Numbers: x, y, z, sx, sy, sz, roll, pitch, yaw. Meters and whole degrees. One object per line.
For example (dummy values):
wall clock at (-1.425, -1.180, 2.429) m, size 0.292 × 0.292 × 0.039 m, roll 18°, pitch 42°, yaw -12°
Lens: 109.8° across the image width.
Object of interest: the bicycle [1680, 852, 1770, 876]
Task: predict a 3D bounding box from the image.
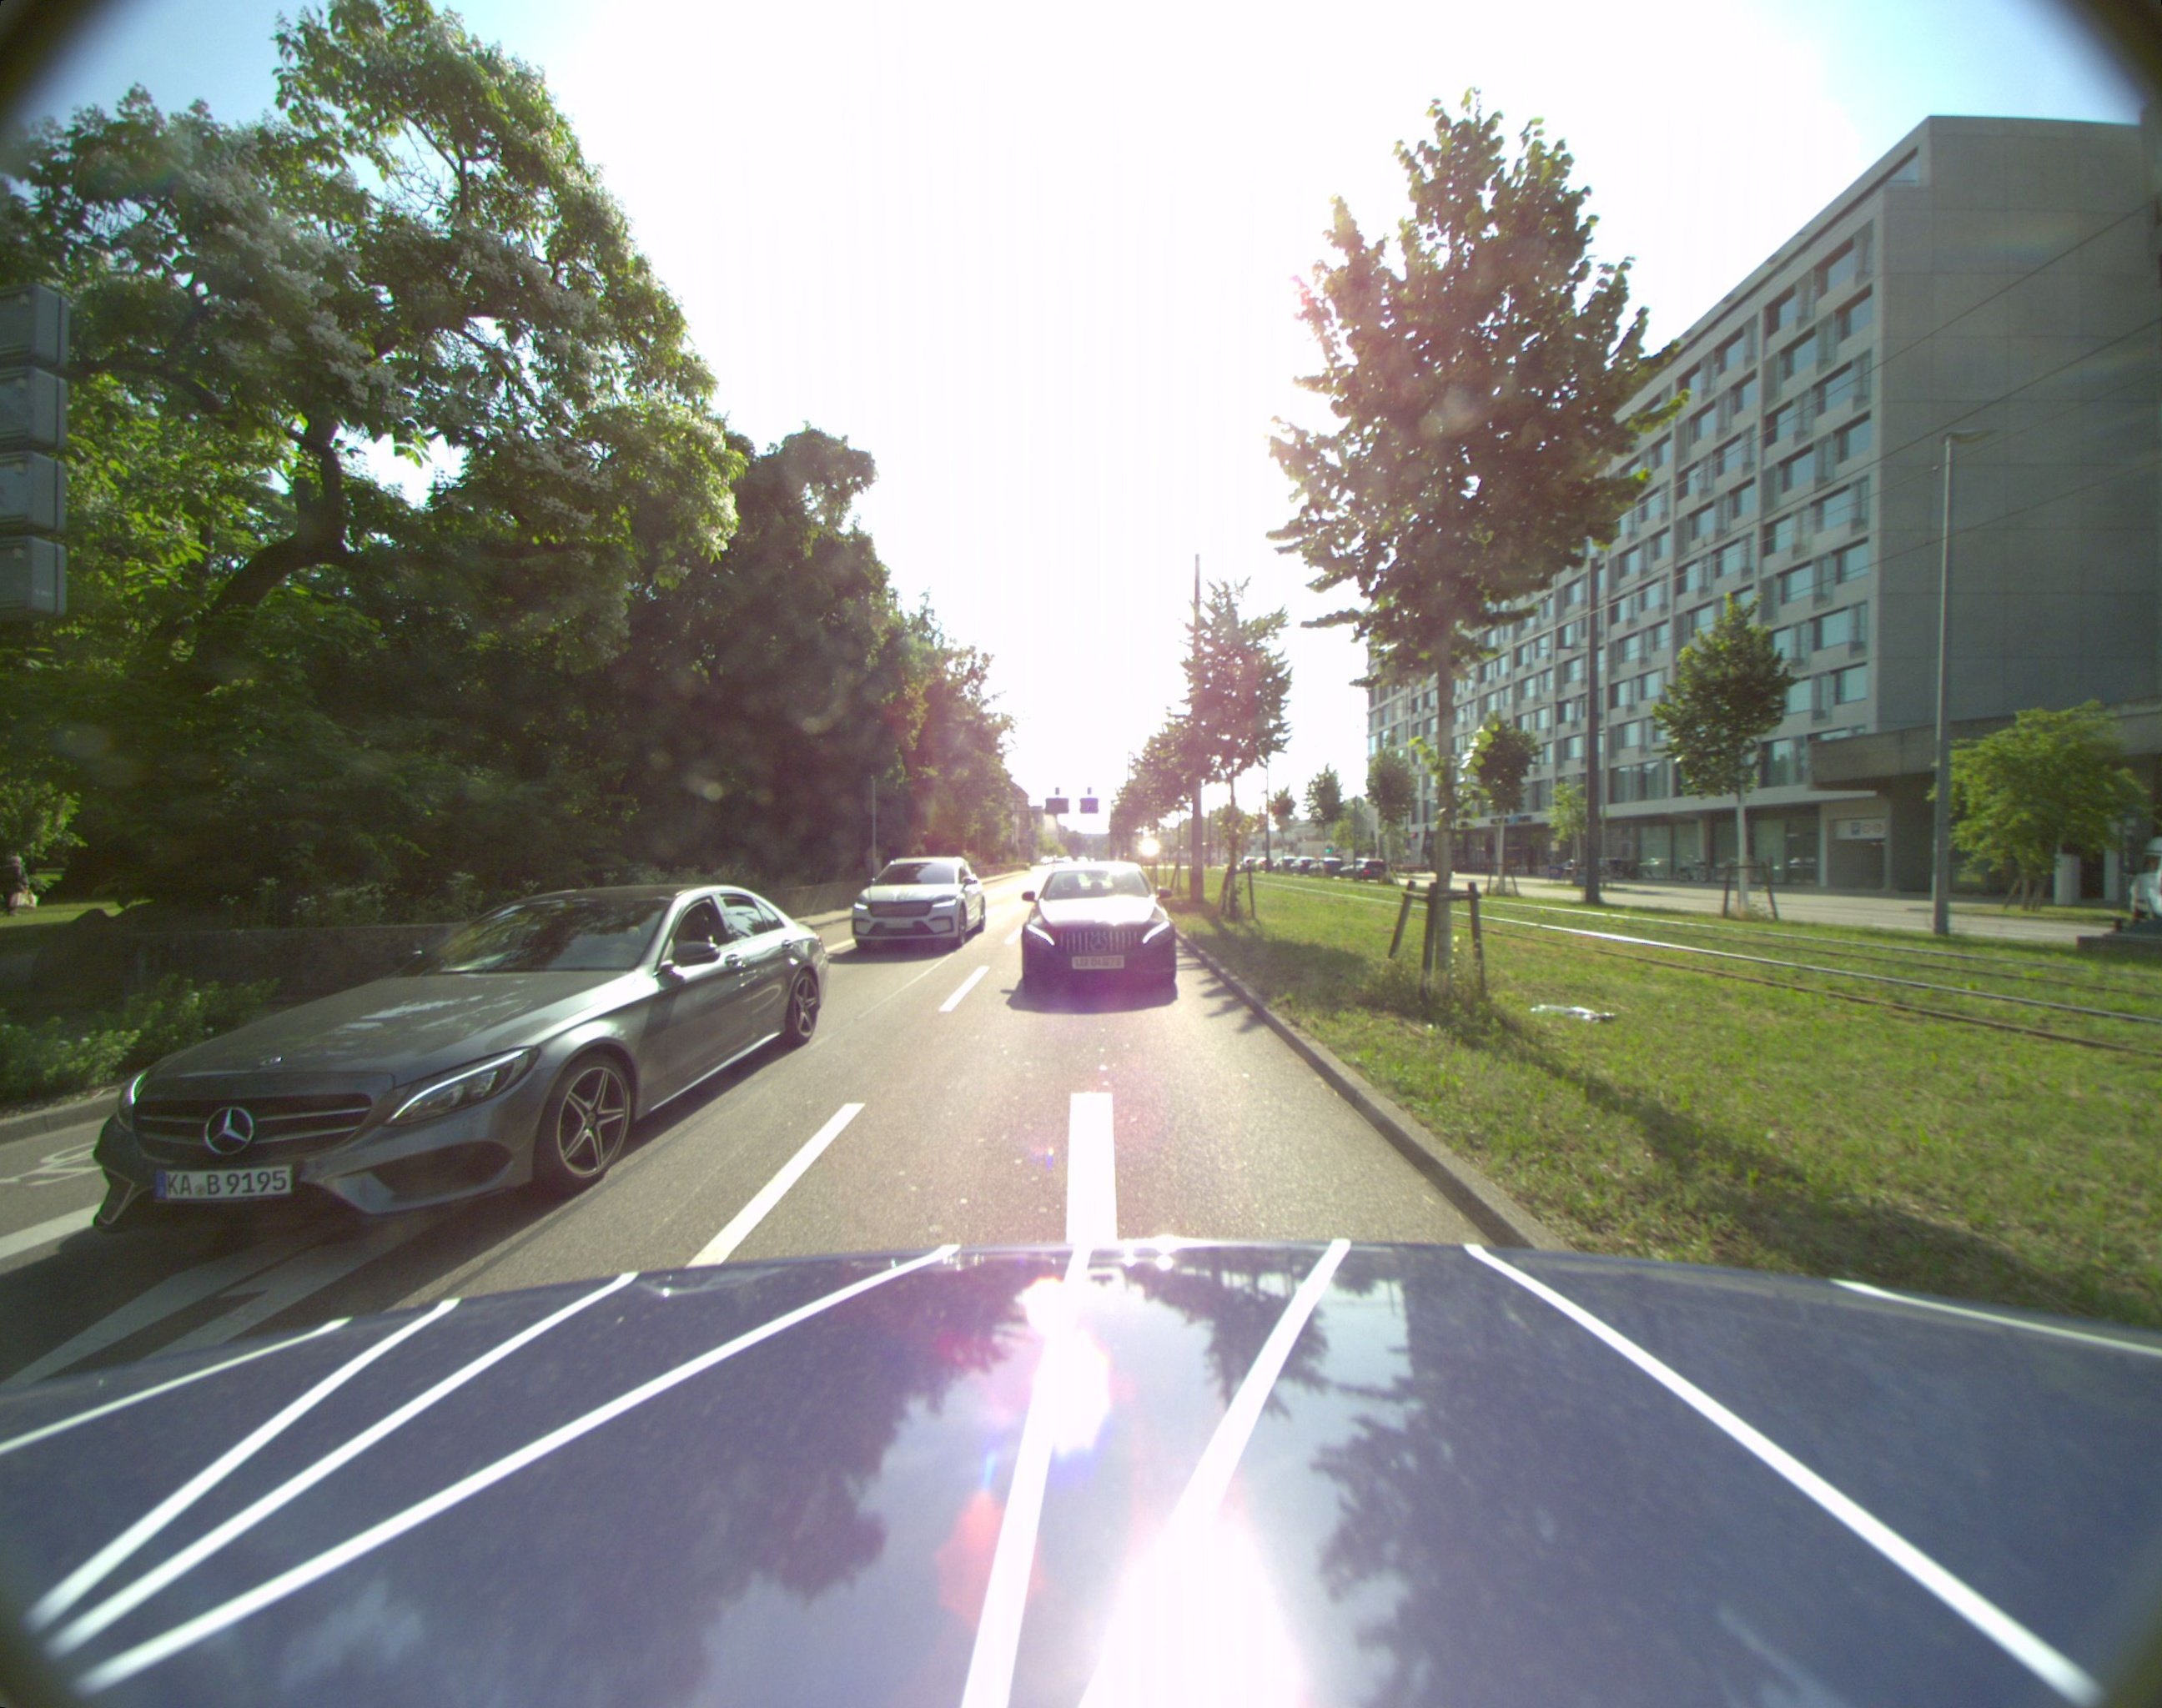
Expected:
bicycle at (37.710, 0.580, 44.525) m, size 3.993 × 1.358 × 1.127 m, roll 0°, pitch 1°, yaw 10°

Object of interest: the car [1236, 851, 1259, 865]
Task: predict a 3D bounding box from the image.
car at (18.367, 0.429, 83.895) m, size 1.787 × 1.516 × 4.000 m, roll 0°, pitch 0°, yaw 1°

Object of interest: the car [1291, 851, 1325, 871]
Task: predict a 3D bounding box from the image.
car at (18.228, 0.539, 61.173) m, size 1.811 × 1.565 × 4.001 m, roll 0°, pitch 0°, yaw 3°

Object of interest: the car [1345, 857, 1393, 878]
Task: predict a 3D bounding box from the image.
car at (21.606, 0.957, 57.154) m, size 1.998 × 1.481 × 4.419 m, roll 0°, pitch 0°, yaw 2°

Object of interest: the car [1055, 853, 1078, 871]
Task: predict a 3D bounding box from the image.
car at (-1.322, 0.711, 70.795) m, size 1.998 × 1.630 × 4.000 m, roll 0°, pitch 0°, yaw 1°

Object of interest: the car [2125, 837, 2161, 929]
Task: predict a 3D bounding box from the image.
car at (29.568, 0.725, 20.159) m, size 5.419 × 2.295 × 1.879 m, roll 0°, pitch 1°, yaw -39°

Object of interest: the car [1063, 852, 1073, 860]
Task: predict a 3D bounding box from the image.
car at (-2.556, 0.418, 155.379) m, size 1.904 × 1.584 × 4.000 m, roll 0°, pitch 0°, yaw 1°

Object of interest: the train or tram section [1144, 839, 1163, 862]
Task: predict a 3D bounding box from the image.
train or tram section at (11.341, -0.542, 119.080) m, size 2.500 × 3.409 × 6.670 m, roll 0°, pitch 0°, yaw 2°

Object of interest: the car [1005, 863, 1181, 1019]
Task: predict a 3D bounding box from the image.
car at (0.187, 0.933, 10.157) m, size 1.759 × 1.437 × 4.617 m, roll -2°, pitch 1°, yaw 2°

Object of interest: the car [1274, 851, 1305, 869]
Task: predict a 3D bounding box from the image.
car at (18.278, 0.489, 66.651) m, size 1.811 × 1.565 × 4.001 m, roll 0°, pitch 0°, yaw 3°

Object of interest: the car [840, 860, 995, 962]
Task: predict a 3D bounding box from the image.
car at (-2.919, 0.950, 14.544) m, size 1.897 × 1.561 × 4.250 m, roll -1°, pitch 0°, yaw 1°

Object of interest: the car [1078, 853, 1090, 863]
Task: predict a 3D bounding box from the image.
car at (0.435, 0.606, 116.075) m, size 1.797 × 1.443 × 4.000 m, roll 0°, pitch 0°, yaw 1°

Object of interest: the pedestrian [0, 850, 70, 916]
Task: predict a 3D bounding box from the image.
pedestrian at (-29.587, 0.794, 21.325) m, size 1.071 × 1.820 × 0.984 m, roll 0°, pitch 1°, yaw -17°

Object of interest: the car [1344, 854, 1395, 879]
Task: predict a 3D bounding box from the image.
car at (17.867, 0.720, 47.244) m, size 1.811 × 1.472 × 4.001 m, roll 0°, pitch 0°, yaw 3°

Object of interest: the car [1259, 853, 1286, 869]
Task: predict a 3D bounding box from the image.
car at (18.368, 0.652, 72.937) m, size 1.811 × 1.466 × 4.001 m, roll 0°, pitch 0°, yaw 3°

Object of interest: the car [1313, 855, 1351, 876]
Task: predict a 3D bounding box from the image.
car at (18.035, 0.783, 54.793) m, size 1.745 × 1.478 × 3.642 m, roll 0°, pitch 0°, yaw 3°
